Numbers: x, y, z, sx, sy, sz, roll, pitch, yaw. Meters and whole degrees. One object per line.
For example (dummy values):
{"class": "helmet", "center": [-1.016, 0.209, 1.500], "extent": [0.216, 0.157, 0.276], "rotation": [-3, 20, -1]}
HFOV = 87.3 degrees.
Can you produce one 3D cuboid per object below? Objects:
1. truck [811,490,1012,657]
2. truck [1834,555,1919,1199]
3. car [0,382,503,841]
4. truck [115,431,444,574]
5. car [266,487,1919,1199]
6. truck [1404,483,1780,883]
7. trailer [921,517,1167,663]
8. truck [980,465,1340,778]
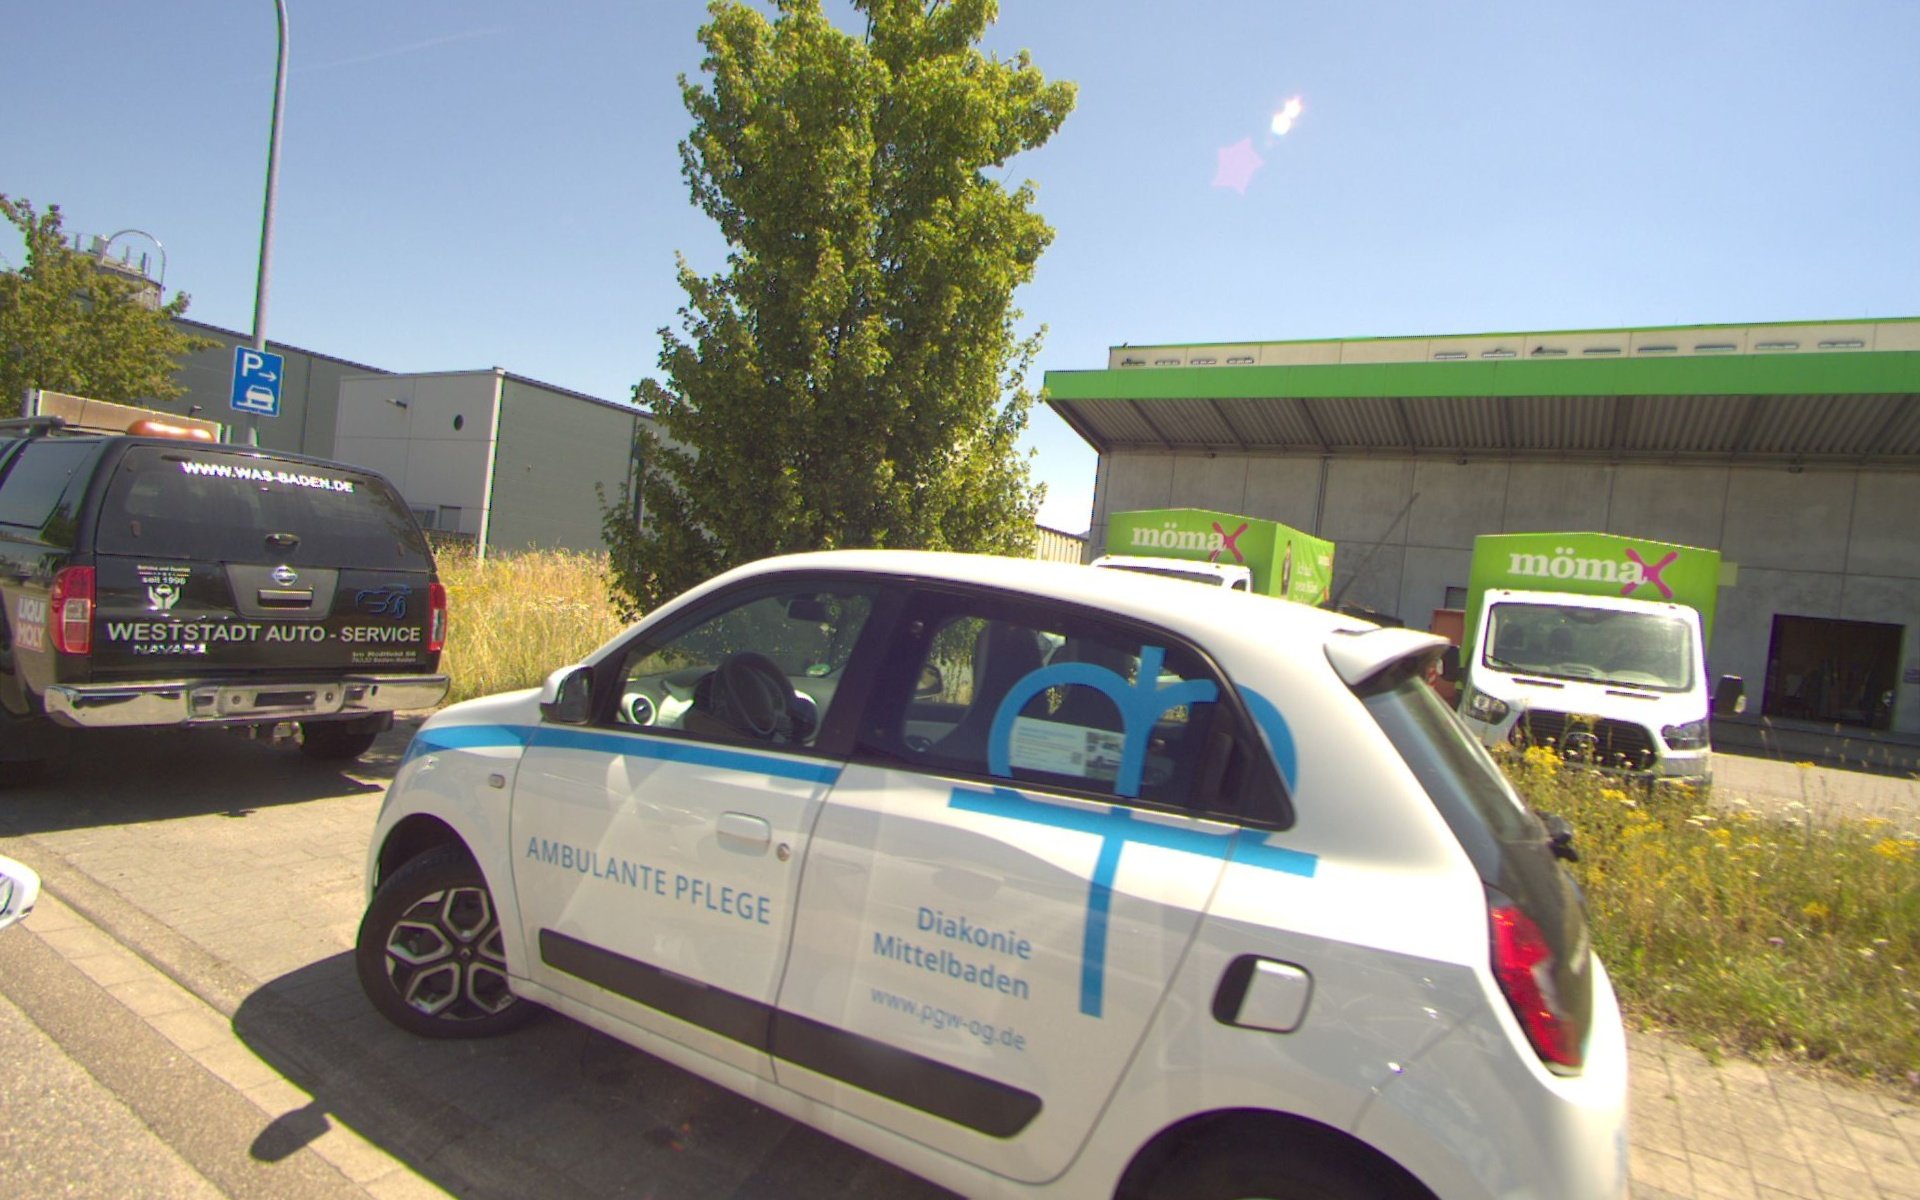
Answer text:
{"class": "truck", "center": [-1.176, -0.603, 27.360], "extent": [2.758, 3.923, 5.067], "rotation": [6, 0, 32]}
{"class": "truck", "center": [3.721, 0.707, 0.675], "extent": [4.317, 2.211, 1.679], "rotation": [6, 2, 32]}
{"class": "car", "center": [-5.380, -0.136, 6.369], "extent": [5.071, 1.909, 1.994], "rotation": [6, 2, 32]}
{"class": "truck", "center": [-24.696, -3.342, 37.479], "extent": [2.981, 3.871, 10.003], "rotation": [6, 1, 21]}
{"class": "car", "center": [-0.115, 0.615, 3.049], "extent": [3.933, 1.551, 1.739], "rotation": [6, 2, 31]}
{"class": "truck", "center": [6.344, 0.711, 10.614], "extent": [2.267, 2.908, 5.910], "rotation": [6, 0, 29]}
{"class": "trailer", "center": [3.472, -0.017, 34.853], "extent": [2.758, 3.923, 12.630], "rotation": [6, -1, 32]}
{"class": "truck", "center": [2.855, 0.287, 12.713], "extent": [2.374, 2.950, 5.827], "rotation": [6, 0, 31]}
